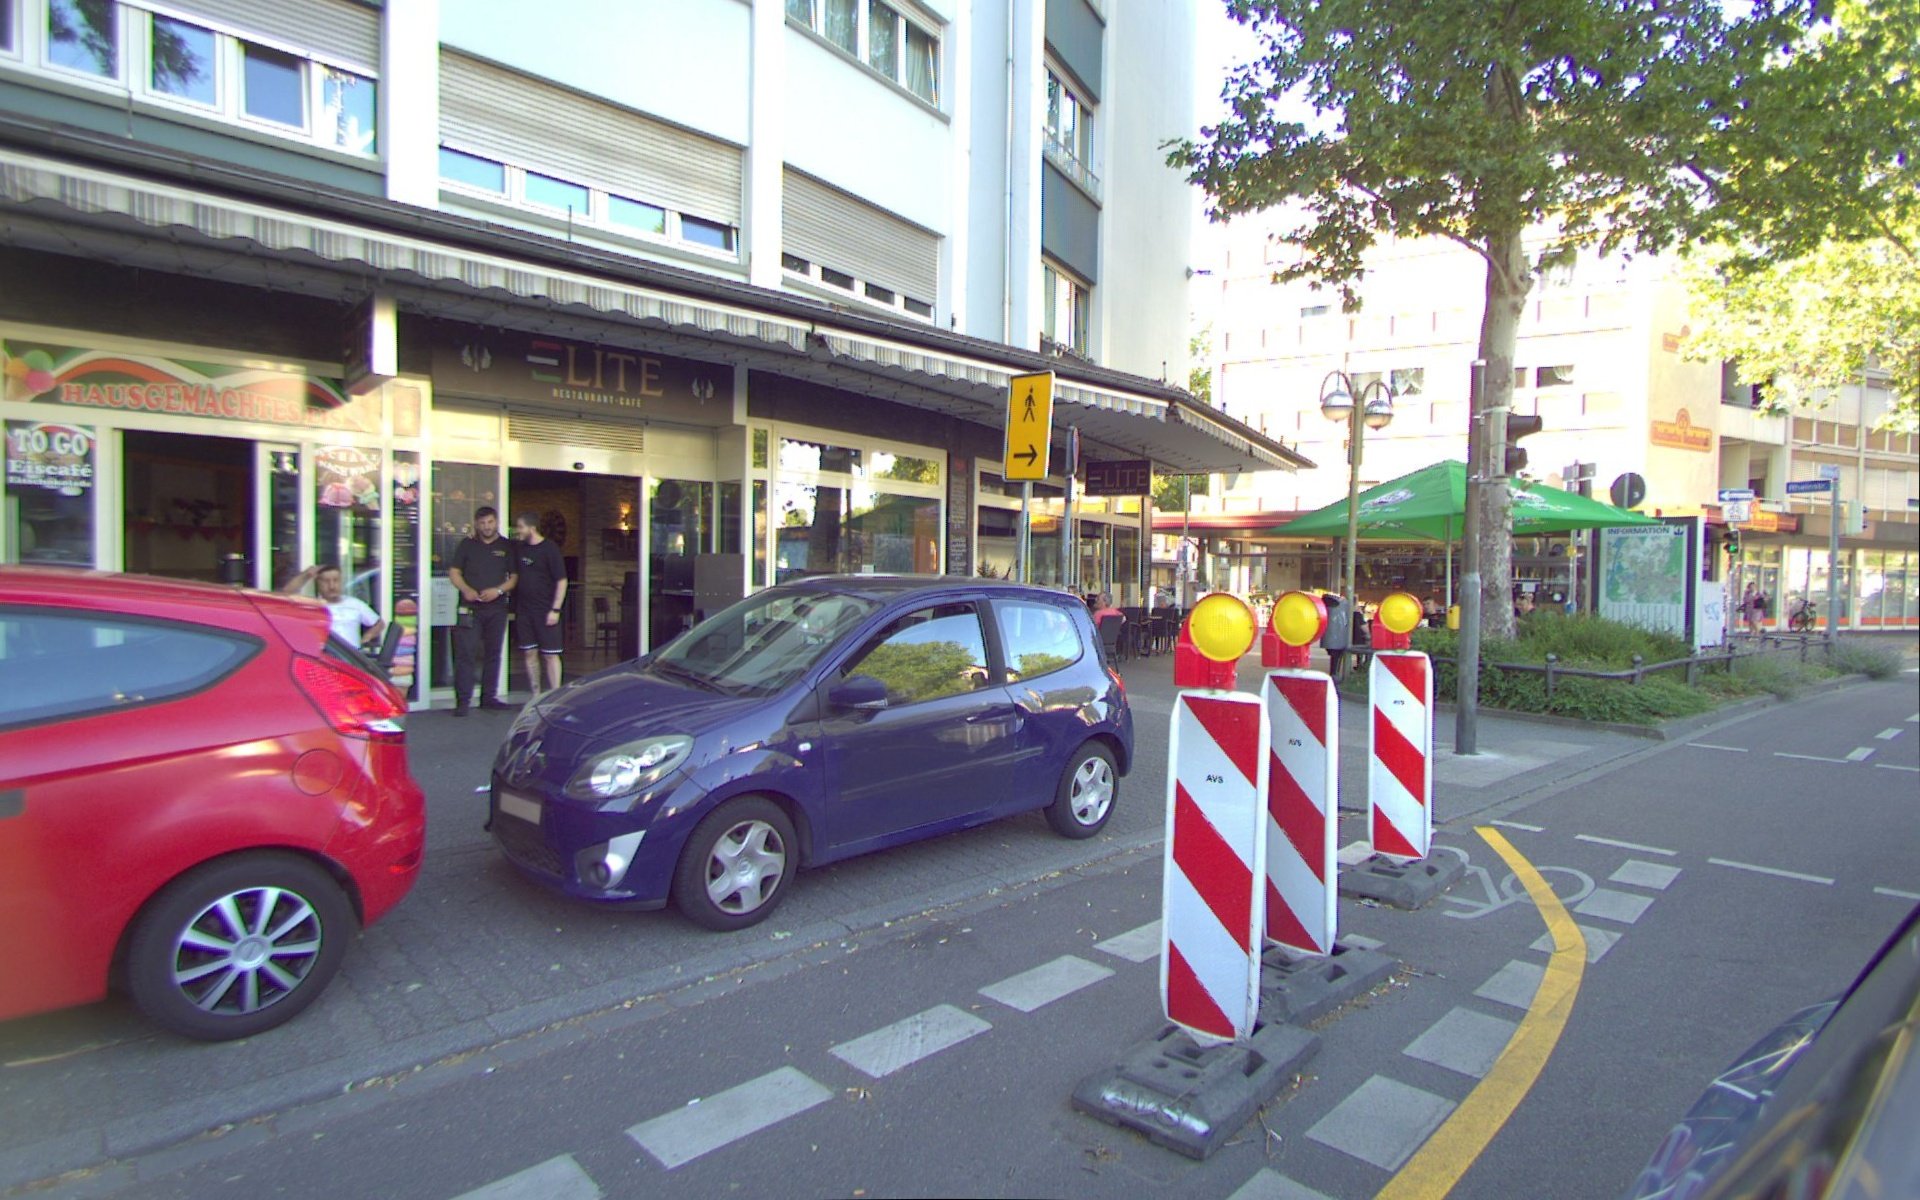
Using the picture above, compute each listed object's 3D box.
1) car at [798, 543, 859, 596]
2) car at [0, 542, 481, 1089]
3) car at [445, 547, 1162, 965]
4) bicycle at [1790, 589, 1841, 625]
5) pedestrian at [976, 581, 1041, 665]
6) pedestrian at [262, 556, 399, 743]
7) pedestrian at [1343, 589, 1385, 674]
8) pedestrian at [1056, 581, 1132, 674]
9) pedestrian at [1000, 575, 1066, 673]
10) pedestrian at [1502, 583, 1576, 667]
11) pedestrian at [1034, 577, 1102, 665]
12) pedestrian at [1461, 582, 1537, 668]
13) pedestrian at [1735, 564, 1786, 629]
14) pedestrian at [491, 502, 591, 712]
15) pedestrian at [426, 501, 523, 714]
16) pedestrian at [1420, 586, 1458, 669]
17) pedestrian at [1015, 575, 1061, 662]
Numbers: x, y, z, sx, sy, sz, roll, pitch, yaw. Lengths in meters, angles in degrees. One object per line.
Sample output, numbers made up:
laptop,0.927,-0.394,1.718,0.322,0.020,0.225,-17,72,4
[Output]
car,-4.645,-1.069,36.173,1.960,1.771,4.004,1,1,-5
car,-3.636,0.563,2.859,1.667,1.446,3.786,5,4,44
car,-0.635,0.531,5.505,3.545,1.484,1.621,0,4,-44
bicycle,28.132,0.215,33.262,1.933,1.157,0.530,0,1,-26
pedestrian,0.710,0.319,14.663,0.710,1.144,0.645,3,1,25
pedestrian,-4.816,0.320,7.719,0.765,1.247,1.207,-1,5,-38
pedestrian,5.950,0.451,14.922,0.460,1.235,0.432,1,0,5
pedestrian,1.863,0.366,14.034,0.838,1.213,0.644,3,1,27
pedestrian,0.999,0.313,13.759,0.644,1.267,0.711,3,1,25
pedestrian,9.275,0.380,16.231,0.753,1.301,0.720,0,1,-28
pedestrian,1.594,0.296,14.925,0.664,1.233,0.706,3,1,43
pedestrian,8.425,0.371,15.829,0.752,1.301,0.721,0,1,-27
pedestrian,22.286,-0.098,28.171,0.883,1.779,0.751,0,1,-24
pedestrian,-3.731,0.041,8.995,0.635,1.780,0.612,1,3,-38
pedestrian,-4.204,0.045,8.756,0.587,1.756,0.589,1,3,-39
pedestrian,7.462,0.417,15.778,0.427,1.234,0.465,3,2,20
pedestrian,1.173,0.273,15.285,0.541,1.259,0.521,2,1,-7
